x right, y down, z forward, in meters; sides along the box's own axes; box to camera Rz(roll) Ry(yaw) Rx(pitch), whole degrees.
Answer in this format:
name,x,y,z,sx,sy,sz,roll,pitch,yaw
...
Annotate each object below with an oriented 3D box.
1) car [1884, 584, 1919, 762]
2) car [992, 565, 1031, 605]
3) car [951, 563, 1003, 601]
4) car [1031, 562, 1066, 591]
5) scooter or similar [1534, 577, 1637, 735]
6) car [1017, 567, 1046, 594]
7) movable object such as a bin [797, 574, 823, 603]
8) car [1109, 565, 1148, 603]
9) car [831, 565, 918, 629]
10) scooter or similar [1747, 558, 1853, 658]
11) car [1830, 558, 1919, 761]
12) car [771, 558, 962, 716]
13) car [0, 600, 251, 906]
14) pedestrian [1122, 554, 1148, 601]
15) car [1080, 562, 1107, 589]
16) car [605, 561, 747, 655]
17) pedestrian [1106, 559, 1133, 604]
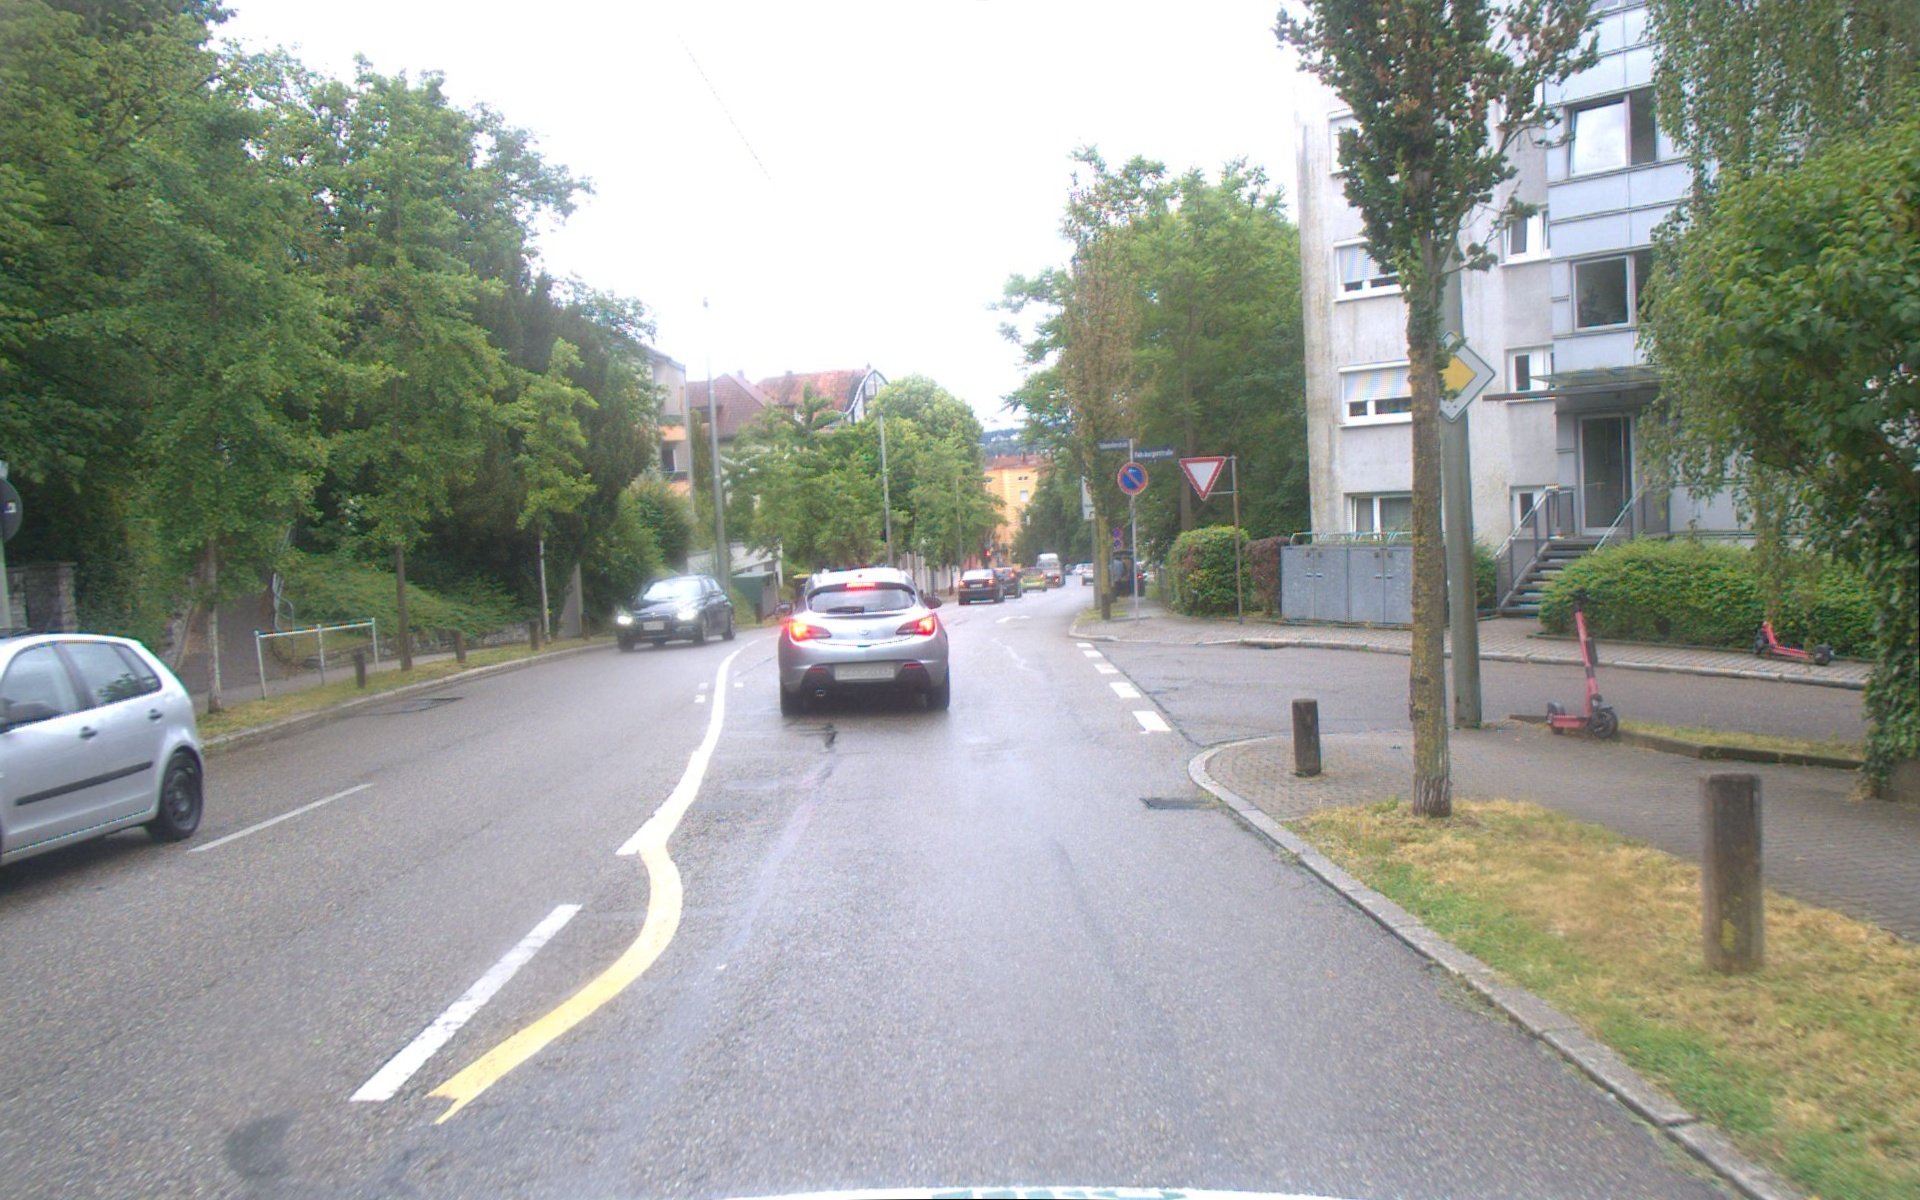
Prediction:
name,x,y,z,sx,sy,sz,roll,pitch,yaw
car,10.250,0.774,14.354,1.632,1.548,3.515,-5,8,-43
car,2.527,-0.748,80.483,1.731,1.812,3.979,0,2,4
car,0.738,-0.756,68.569,1.919,1.497,3.954,0,2,4
car,6.560,-1.783,122.623,2.284,2.071,4.739,0,2,6
scooter or similar,5.297,0.455,14.050,0.336,1.276,1.267,-1,0,-2
car,4.598,-1.233,106.109,1.717,1.680,4.002,0,1,4
movable object such as a bin,-7.685,-0.574,84.733,1.245,1.411,0.489,-2,1,4
car,7.216,-0.686,71.037,1.472,1.460,4.003,-4,0,5
car,-2.009,-0.106,39.866,1.761,1.346,4.001,-2,2,1
scooter or similar,11.319,0.094,22.313,0.492,1.203,1.189,-8,9,-36
car,7.686,0.456,11.072,1.473,1.460,3.998,1,1,-3
car,-0.974,0.326,18.665,1.906,1.456,3.885,-1,3,-1
car,-5.914,0.884,9.670,1.729,1.511,3.802,-4,2,1
pedestrian,7.277,-0.942,68.801,0.654,1.867,0.685,-6,1,-19
car,10.606,-1.940,130.887,1.951,2.071,4.739,0,2,6
car,-5.818,0.128,34.446,1.873,1.611,4.588,-7,1,2
pedestrian,6.631,-0.768,68.634,0.724,1.753,0.761,-6,1,-19
